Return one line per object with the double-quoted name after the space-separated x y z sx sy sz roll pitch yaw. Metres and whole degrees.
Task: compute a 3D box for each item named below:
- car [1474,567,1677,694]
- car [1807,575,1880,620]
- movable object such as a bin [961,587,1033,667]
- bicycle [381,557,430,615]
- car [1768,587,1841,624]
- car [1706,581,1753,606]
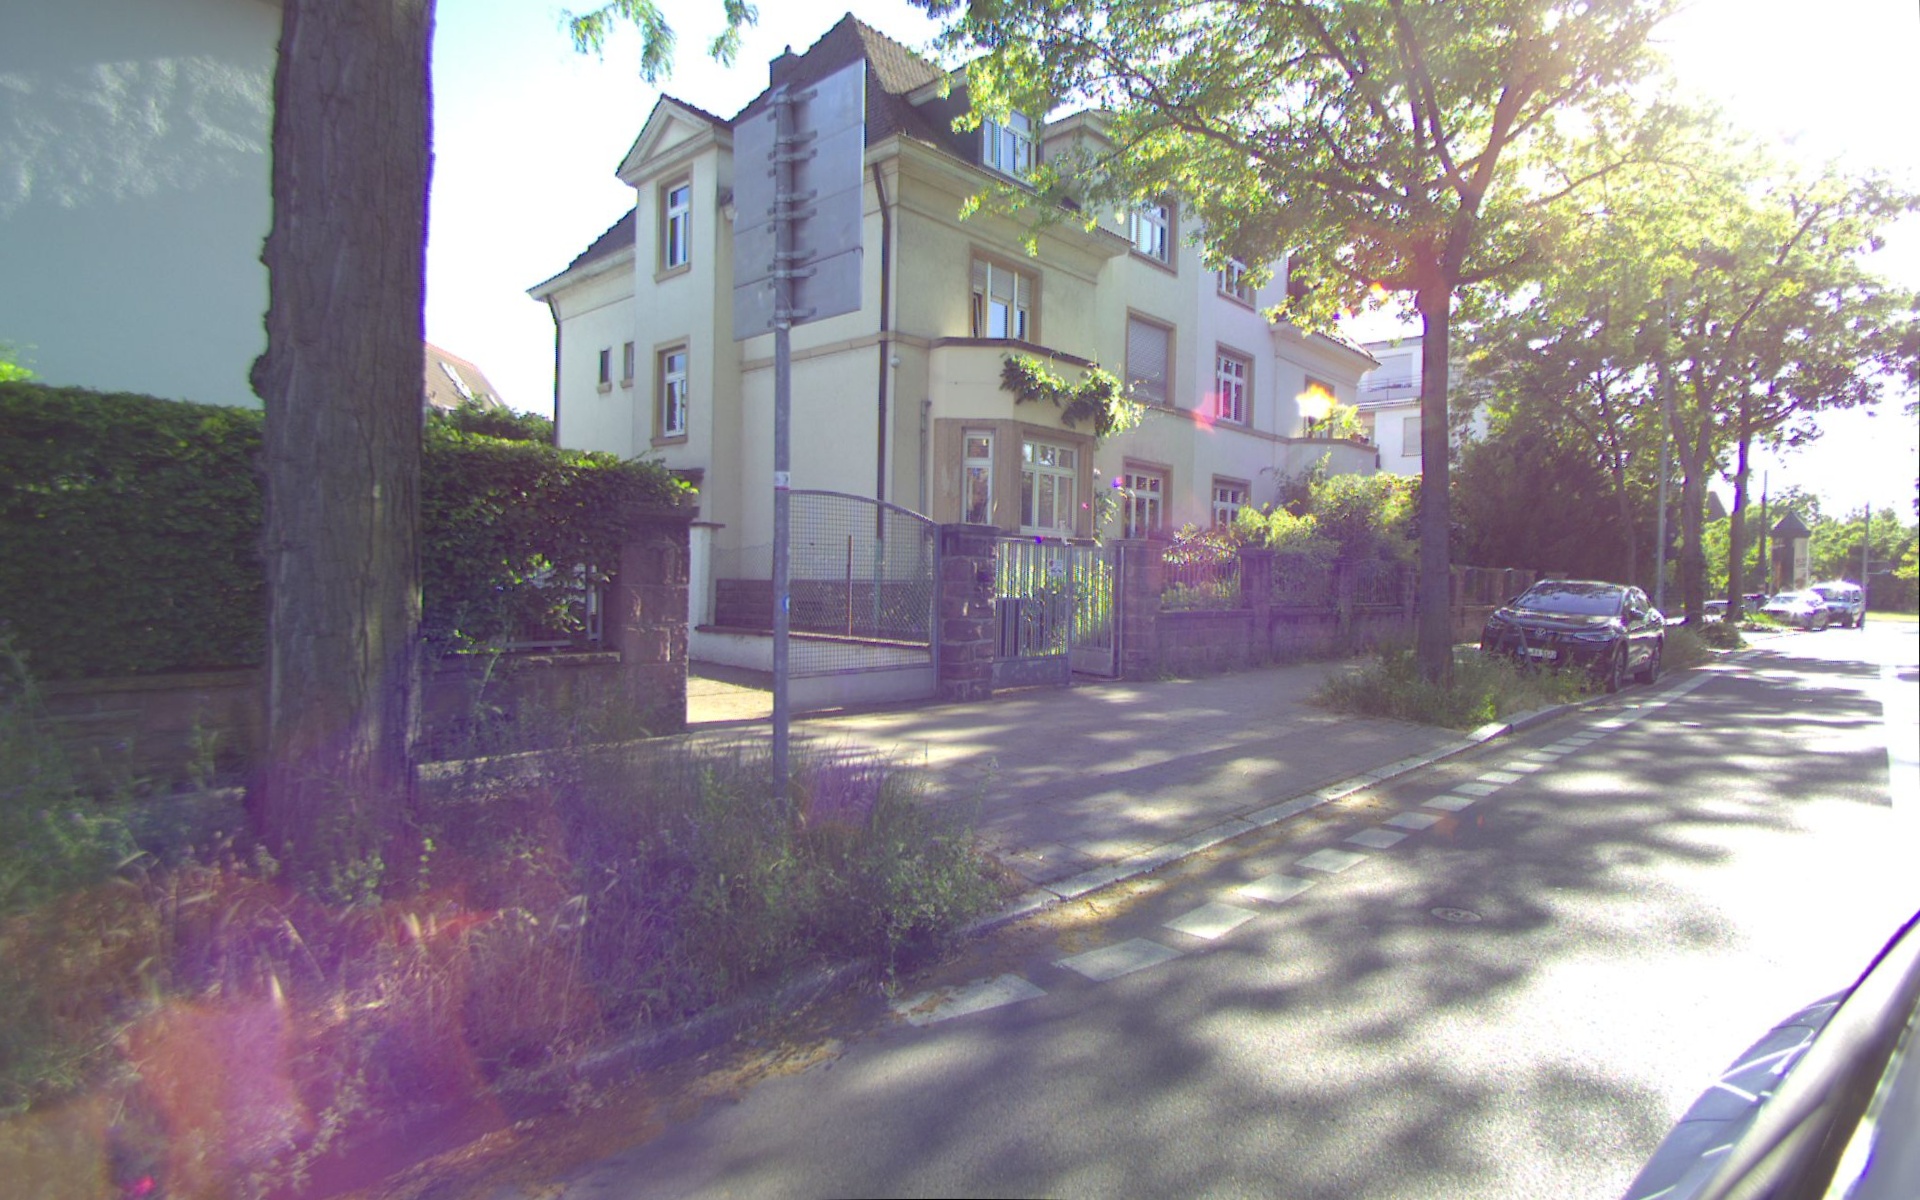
10.004 0.377 16.314 1.993 1.765 4.106 1 2 43 "car"
38.369 -0.161 43.919 4.176 1.852 1.902 -1 2 -42 "car"
0.511 0.363 14.352 0.712 1.068 0.969 0 1 -20 "movable object such as a bin"
-11.249 -0.287 20.515 0.512 1.136 1.463 -1 1 -44 "bicycle"
33.419 0.173 40.019 3.851 1.356 1.717 -1 2 -43 "car"
47.074 -0.407 61.893 3.935 1.460 1.738 -1 2 -45 "car"
